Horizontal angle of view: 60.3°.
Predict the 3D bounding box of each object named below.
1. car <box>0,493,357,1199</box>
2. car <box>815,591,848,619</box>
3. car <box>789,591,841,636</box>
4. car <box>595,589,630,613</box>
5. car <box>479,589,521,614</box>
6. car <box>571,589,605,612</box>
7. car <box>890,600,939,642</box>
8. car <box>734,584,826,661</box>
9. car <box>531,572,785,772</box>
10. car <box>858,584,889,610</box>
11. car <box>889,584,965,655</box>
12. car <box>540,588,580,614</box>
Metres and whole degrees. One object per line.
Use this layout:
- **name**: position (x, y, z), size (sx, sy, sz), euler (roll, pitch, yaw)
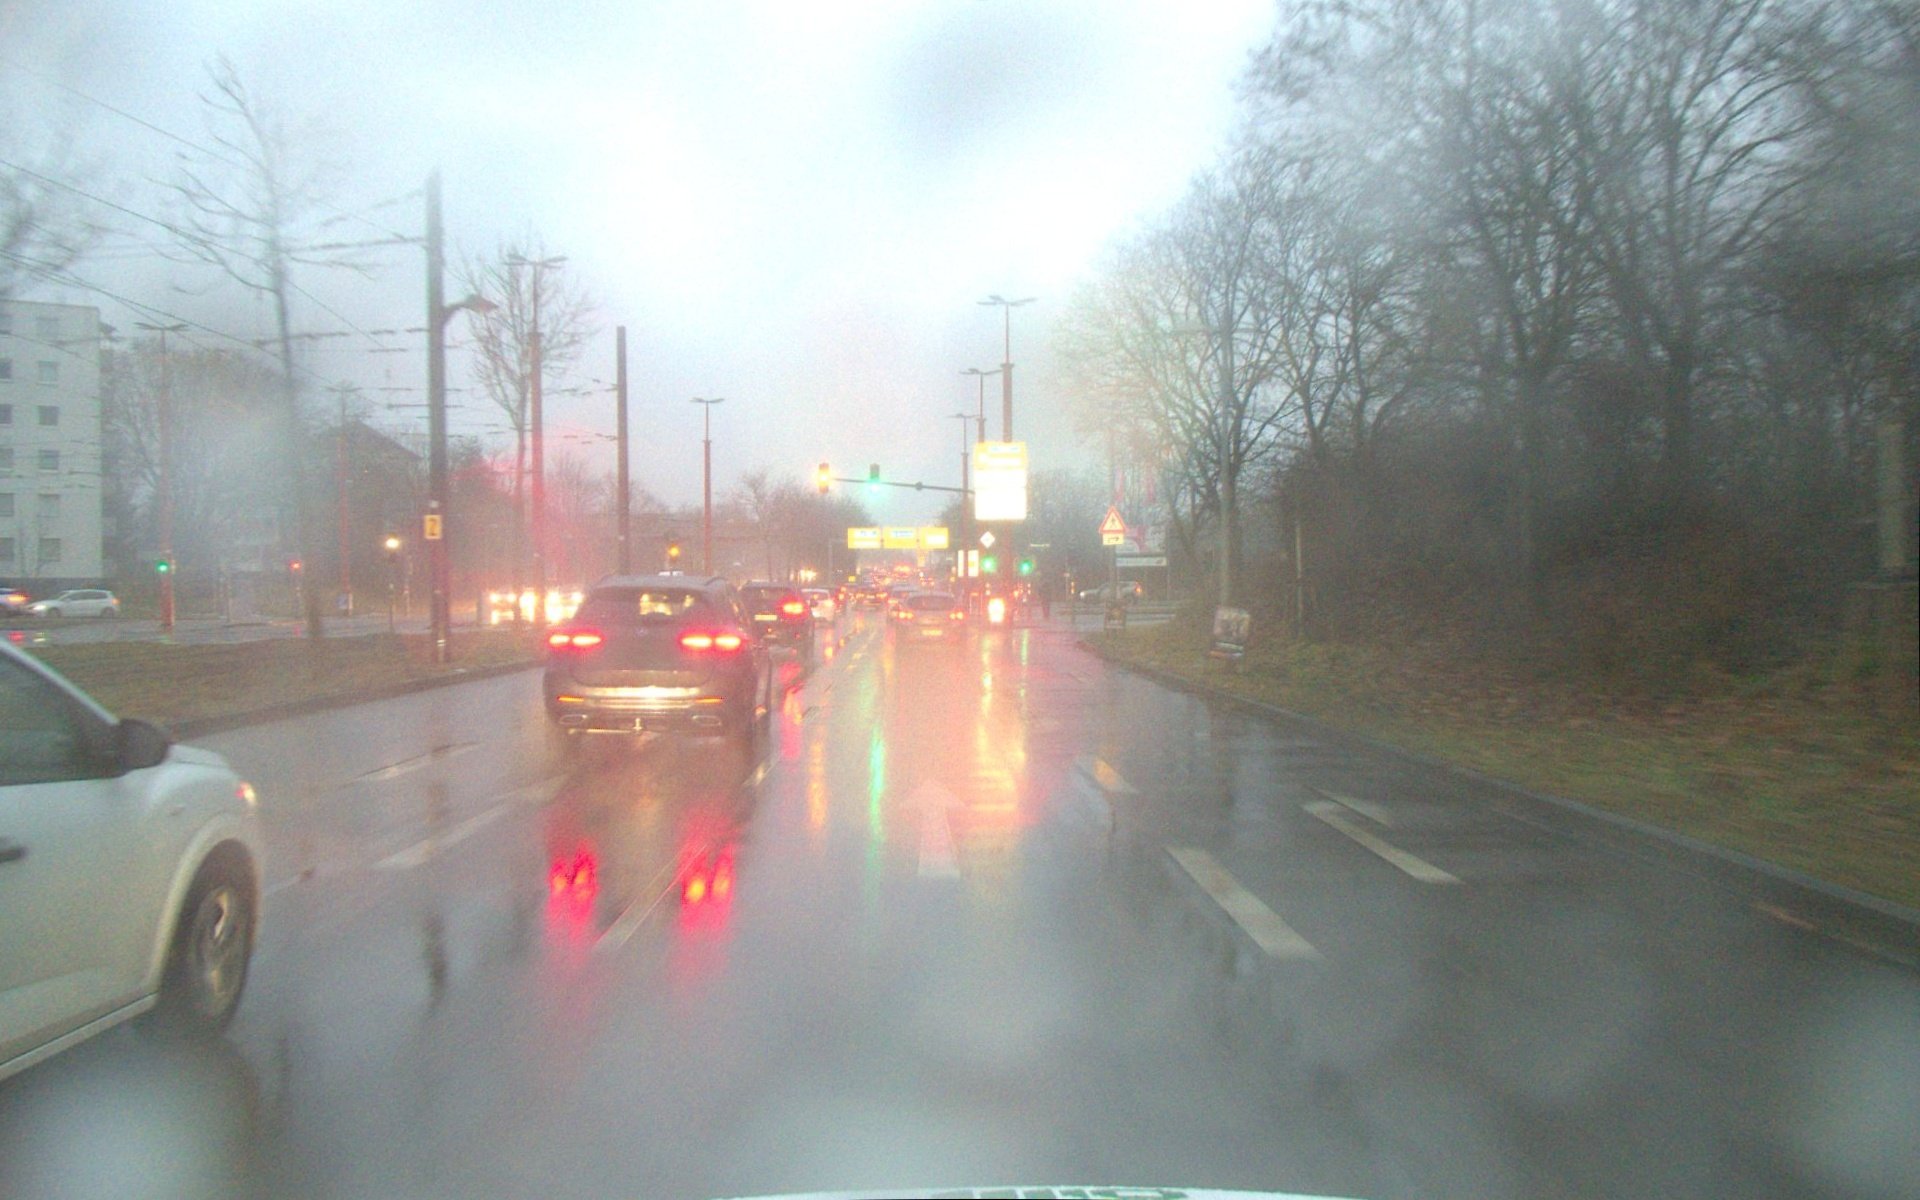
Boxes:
- **car**: position (-3.039, 0.597, 4.072), size (1.679, 1.676, 4.146), euler (0, 0, -2)
- **car**: position (-6.422, 0.219, 82.878), size (1.475, 1.362, 3.999), euler (0, 0, -2)
- **car**: position (-5.652, 0.509, 64.673), size (1.785, 1.676, 3.999), euler (0, 0, -2)
- **car**: position (-22.147, 0.035, 105.499), size (1.619, 1.445, 3.324), euler (0, 1, -3)
- **car**: position (-29.105, 0.063, 104.737), size (1.586, 1.521, 4.015), euler (0, 1, -2)
- **car**: position (-24.974, 0.009, 111.113), size (1.589, 1.452, 3.908), euler (0, 1, -3)
- **car**: position (-1.911, 0.863, 69.380), size (1.953, 1.691, 3.998), euler (1, 0, -2)
- **car**: position (-4.127, 0.484, 38.456), size (1.785, 1.676, 3.999), euler (0, 0, -2)
- **car**: position (-2.792, 0.595, 16.247), size (1.785, 1.676, 4.465), euler (0, 0, -2)
- **car**: position (-5.253, -0.186, 100.899), size (1.785, 1.530, 3.999), euler (0, 0, -2)
- **car**: position (-0.844, 0.443, 41.842), size (1.785, 1.676, 4.465), euler (-1, 0, -2)
- **car**: position (-25.050, 0.026, 103.718), size (1.735, 1.581, 3.945), euler (0, 1, -3)
